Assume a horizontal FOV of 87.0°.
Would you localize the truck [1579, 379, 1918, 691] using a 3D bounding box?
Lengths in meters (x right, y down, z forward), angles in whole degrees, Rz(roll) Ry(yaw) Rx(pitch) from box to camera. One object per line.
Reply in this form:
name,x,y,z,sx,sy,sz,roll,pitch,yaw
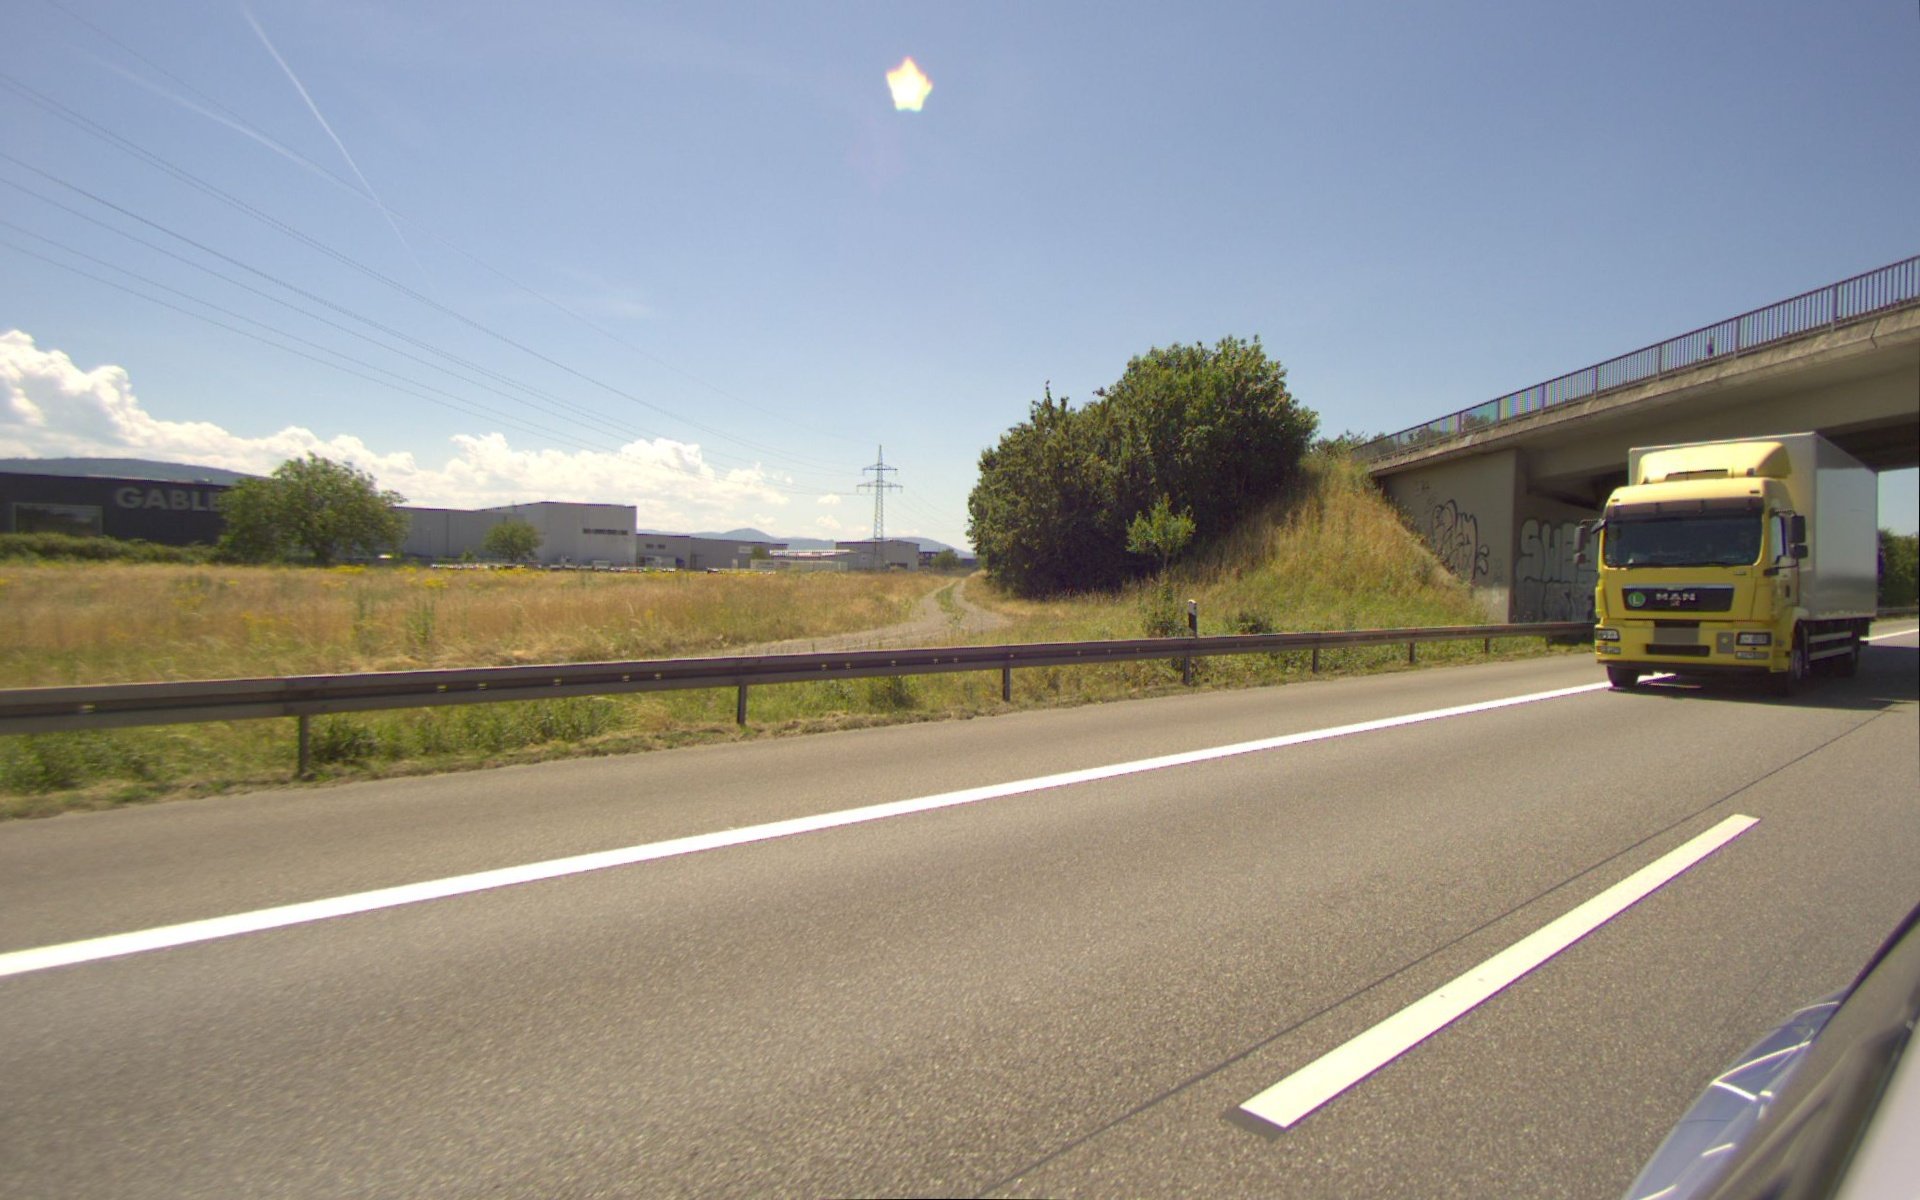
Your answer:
truck,14.707,-0.910,18.380,10.495,4.253,2.938,0,0,-41
